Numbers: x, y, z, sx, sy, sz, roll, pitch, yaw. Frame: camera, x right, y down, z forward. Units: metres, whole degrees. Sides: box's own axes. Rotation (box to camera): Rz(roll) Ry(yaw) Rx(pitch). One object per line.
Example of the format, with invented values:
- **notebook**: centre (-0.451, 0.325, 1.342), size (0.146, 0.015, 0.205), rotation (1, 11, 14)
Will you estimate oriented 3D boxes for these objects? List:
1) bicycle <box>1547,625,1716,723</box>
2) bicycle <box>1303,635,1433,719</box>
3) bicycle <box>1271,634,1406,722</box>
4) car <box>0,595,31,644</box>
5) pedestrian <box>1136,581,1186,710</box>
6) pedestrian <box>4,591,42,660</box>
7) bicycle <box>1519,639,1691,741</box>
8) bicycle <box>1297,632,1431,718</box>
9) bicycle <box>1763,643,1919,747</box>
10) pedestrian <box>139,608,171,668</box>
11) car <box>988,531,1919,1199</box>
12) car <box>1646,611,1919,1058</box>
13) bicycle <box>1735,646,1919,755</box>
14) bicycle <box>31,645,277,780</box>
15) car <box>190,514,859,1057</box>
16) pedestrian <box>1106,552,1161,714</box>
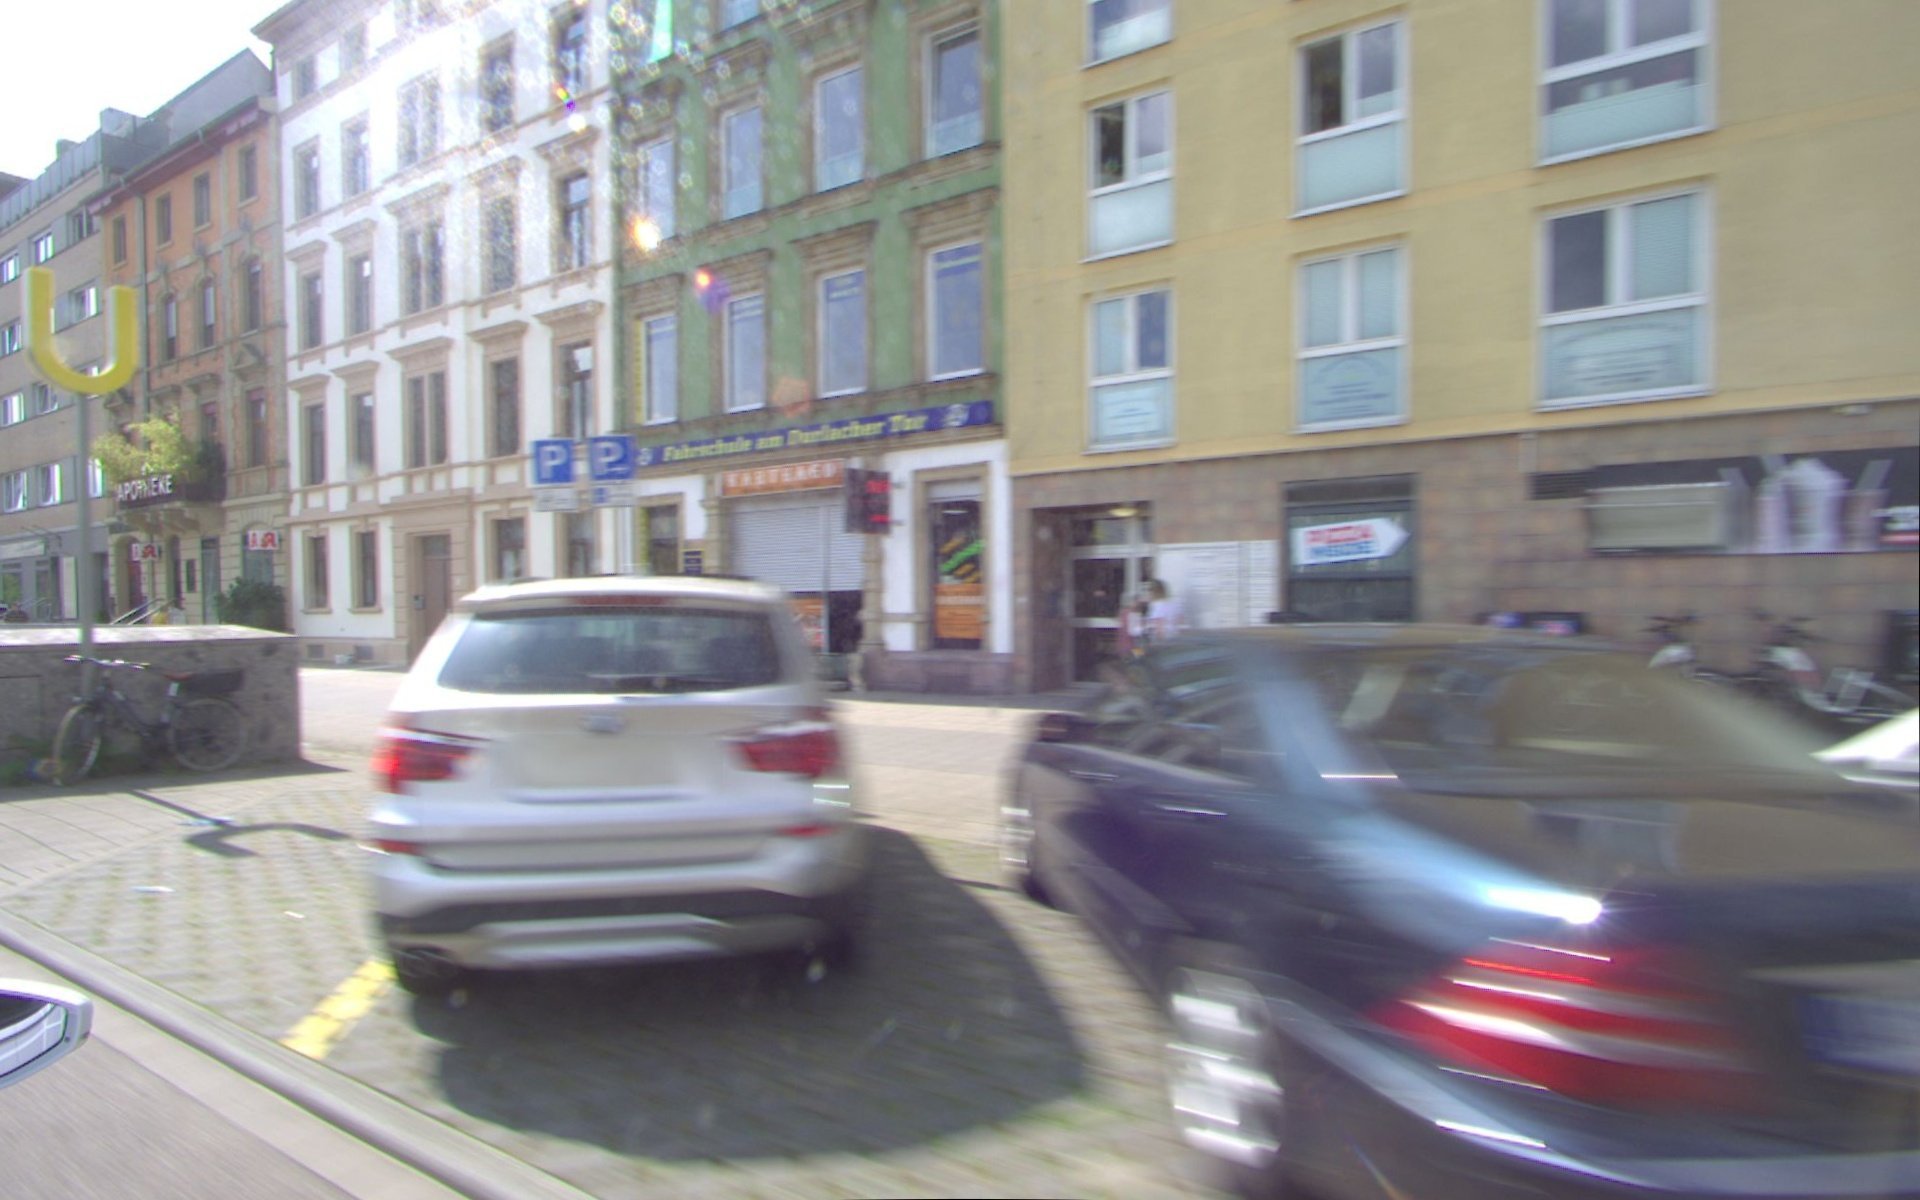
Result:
- **bicycle**: centre (7.116, 0.763, 10.671), size (1.443, 0.935, 0.291), rotation (2, 2, 34)
- **bicycle**: centre (4.985, 0.925, 12.269), size (1.442, 0.935, 0.292), rotation (1, 1, 31)
- **bicycle**: centre (4.411, 0.890, 11.720), size (1.442, 0.935, 0.292), rotation (1, 1, 31)
- **car**: centre (-38.953, 0.782, 39.448), size (4.679, 1.886, 1.992), rotation (-1, 0, 28)
- **pedestrian**: centre (2.675, 0.581, 13.314), size (0.454, 1.642, 0.599), rotation (3, 5, 33)
- **pedestrian**: centre (-29.878, 0.798, 31.943), size (0.775, 2.128, 0.719), rotation (3, 2, 33)
- **bicycle**: centre (6.578, 0.903, 10.282), size (1.442, 0.935, 0.292), rotation (1, 2, 31)
- **bicycle**: centre (4.821, 0.874, 11.995), size (1.442, 0.935, 0.292), rotation (1, 2, 31)
- **bicycle**: centre (8.691, 0.905, 9.657), size (1.444, 0.935, 0.291), rotation (0, 1, 34)
- **pedestrian**: centre (-23.519, 1.106, 29.268), size (0.603, 1.721, 0.577), rotation (3, 2, 33)
- **car**: centre (1.388, 0.773, 3.794), size (1.902, 1.478, 4.601), rotation (2, -3, -6)
- **car**: centre (4.105, 0.754, 2.778), size (1.745, 1.472, 3.496), rotation (0, -1, -7)
- **bicycle**: centre (8.153, 0.915, 9.327), size (1.444, 0.935, 0.291), rotation (0, 1, 34)
- **bicycle**: centre (-7.498, 1.025, 9.401), size (0.603, 1.109, 1.631), rotation (3, -2, 31)
- **car**: centre (-1.715, 0.571, 5.506), size (2.023, 1.669, 4.593), rotation (0, 0, -9)
- **pedestrian**: centre (2.251, 0.418, 12.986), size (0.454, 2.041, 0.600), rotation (3, 2, 33)
